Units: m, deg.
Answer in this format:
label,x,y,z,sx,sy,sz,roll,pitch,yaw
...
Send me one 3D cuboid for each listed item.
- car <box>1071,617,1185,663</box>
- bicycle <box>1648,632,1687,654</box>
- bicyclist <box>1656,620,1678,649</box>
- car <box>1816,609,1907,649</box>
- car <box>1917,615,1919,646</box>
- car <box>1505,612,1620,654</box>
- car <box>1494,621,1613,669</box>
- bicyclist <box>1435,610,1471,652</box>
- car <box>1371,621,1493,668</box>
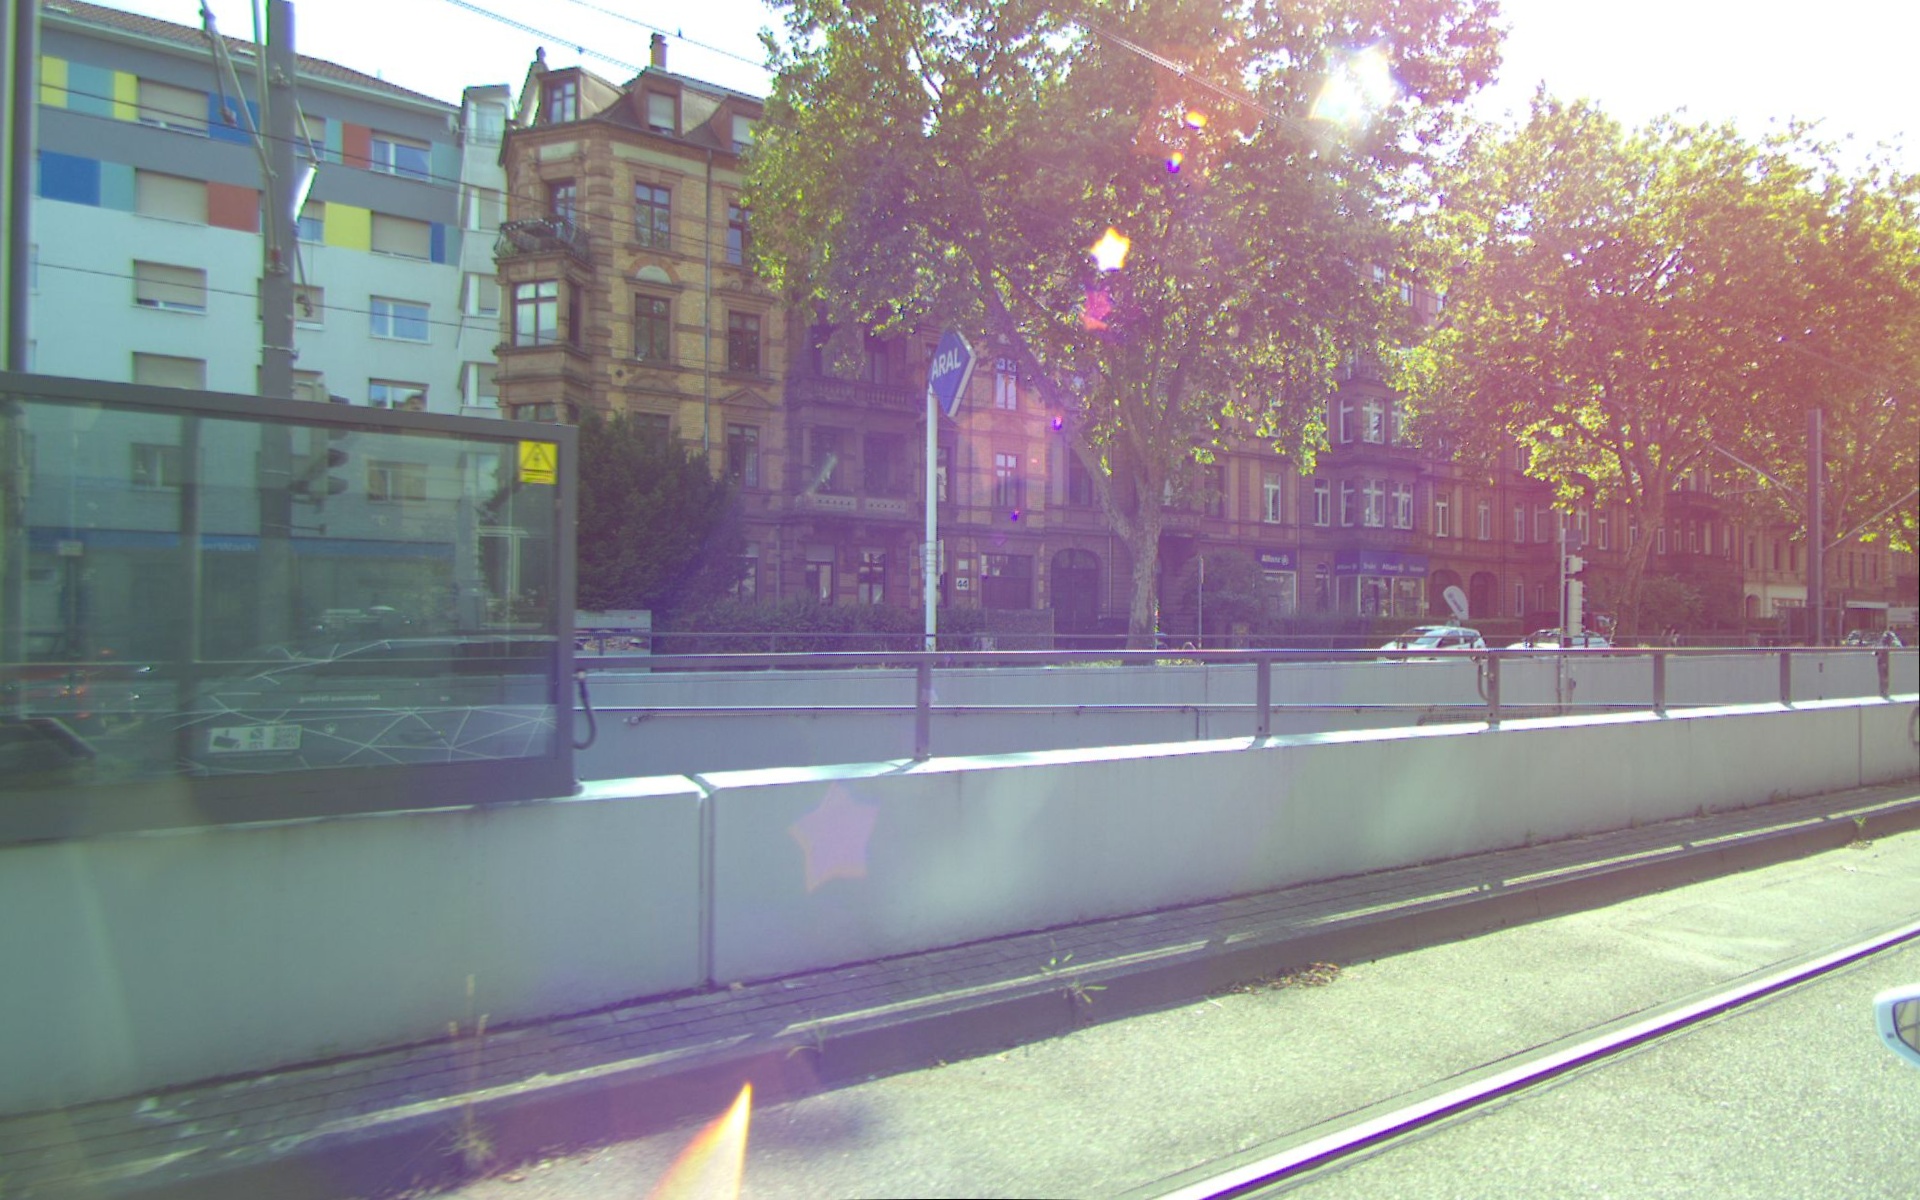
label,x,y,z,sx,sy,sz,roll,pitch,yaw
car,5.806,1.373,35.200,1.974,1.503,3.972,1,-1,-27
bicycle,30.678,1.867,43.547,2.123,0.925,0.532,1,-1,-30
bicyclist,30.654,1.489,43.531,0.715,1.248,0.532,1,-1,-30
car,41.212,1.331,45.915,3.677,1.713,1.714,0,-3,-24
car,53.574,1.586,53.931,3.950,1.658,1.986,1,-4,-28
car,29.052,1.558,48.537,1.977,1.943,4.380,1,-1,-31
car,19.539,1.474,33.037,3.955,1.501,1.635,1,-4,-31
bicyclist,17.573,1.096,35.814,1.032,1.475,0.685,1,-1,-30
car,13.993,1.320,29.774,3.447,1.320,1.492,1,-4,-28
